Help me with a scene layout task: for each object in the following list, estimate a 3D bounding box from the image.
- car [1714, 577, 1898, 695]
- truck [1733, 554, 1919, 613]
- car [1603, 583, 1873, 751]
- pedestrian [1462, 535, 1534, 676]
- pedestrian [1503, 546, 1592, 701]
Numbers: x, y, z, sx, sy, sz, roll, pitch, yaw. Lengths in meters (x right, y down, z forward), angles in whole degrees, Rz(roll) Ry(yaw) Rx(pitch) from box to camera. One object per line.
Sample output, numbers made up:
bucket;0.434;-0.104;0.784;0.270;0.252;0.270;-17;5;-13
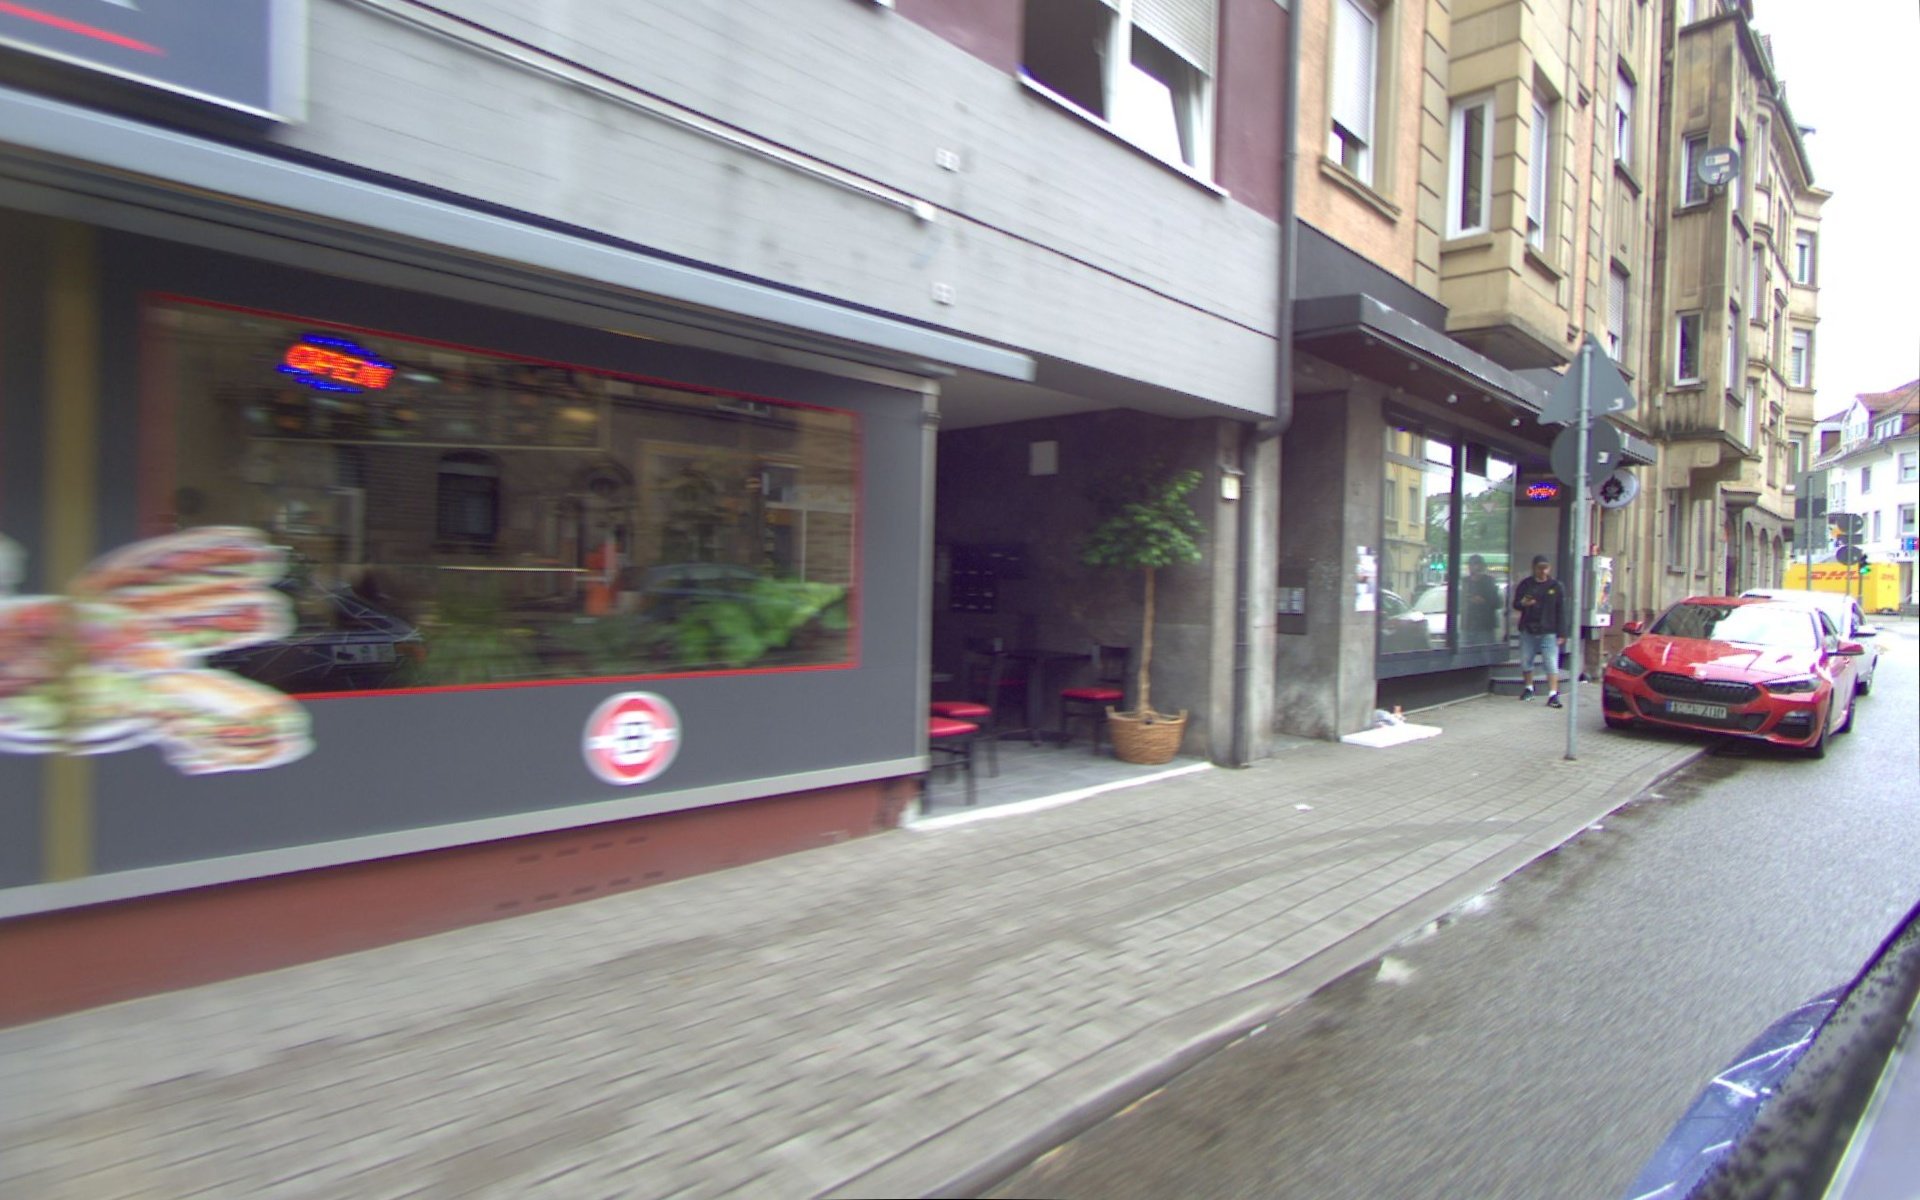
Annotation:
car;12.942;0.423;15.380;4.375;1.512;1.649;-1;3;-44
truck;44.353;-0.918;52.086;2.189;2.784;7.040;0;2;-24
car;8.416;0.560;10.795;1.745;1.386;4.245;3;2;45
pedestrian;7.554;0.057;14.209;0.703;1.917;0.639;3;2;43
pedestrian;7.162;0.253;12.336;0.744;1.801;0.783;3;2;43
